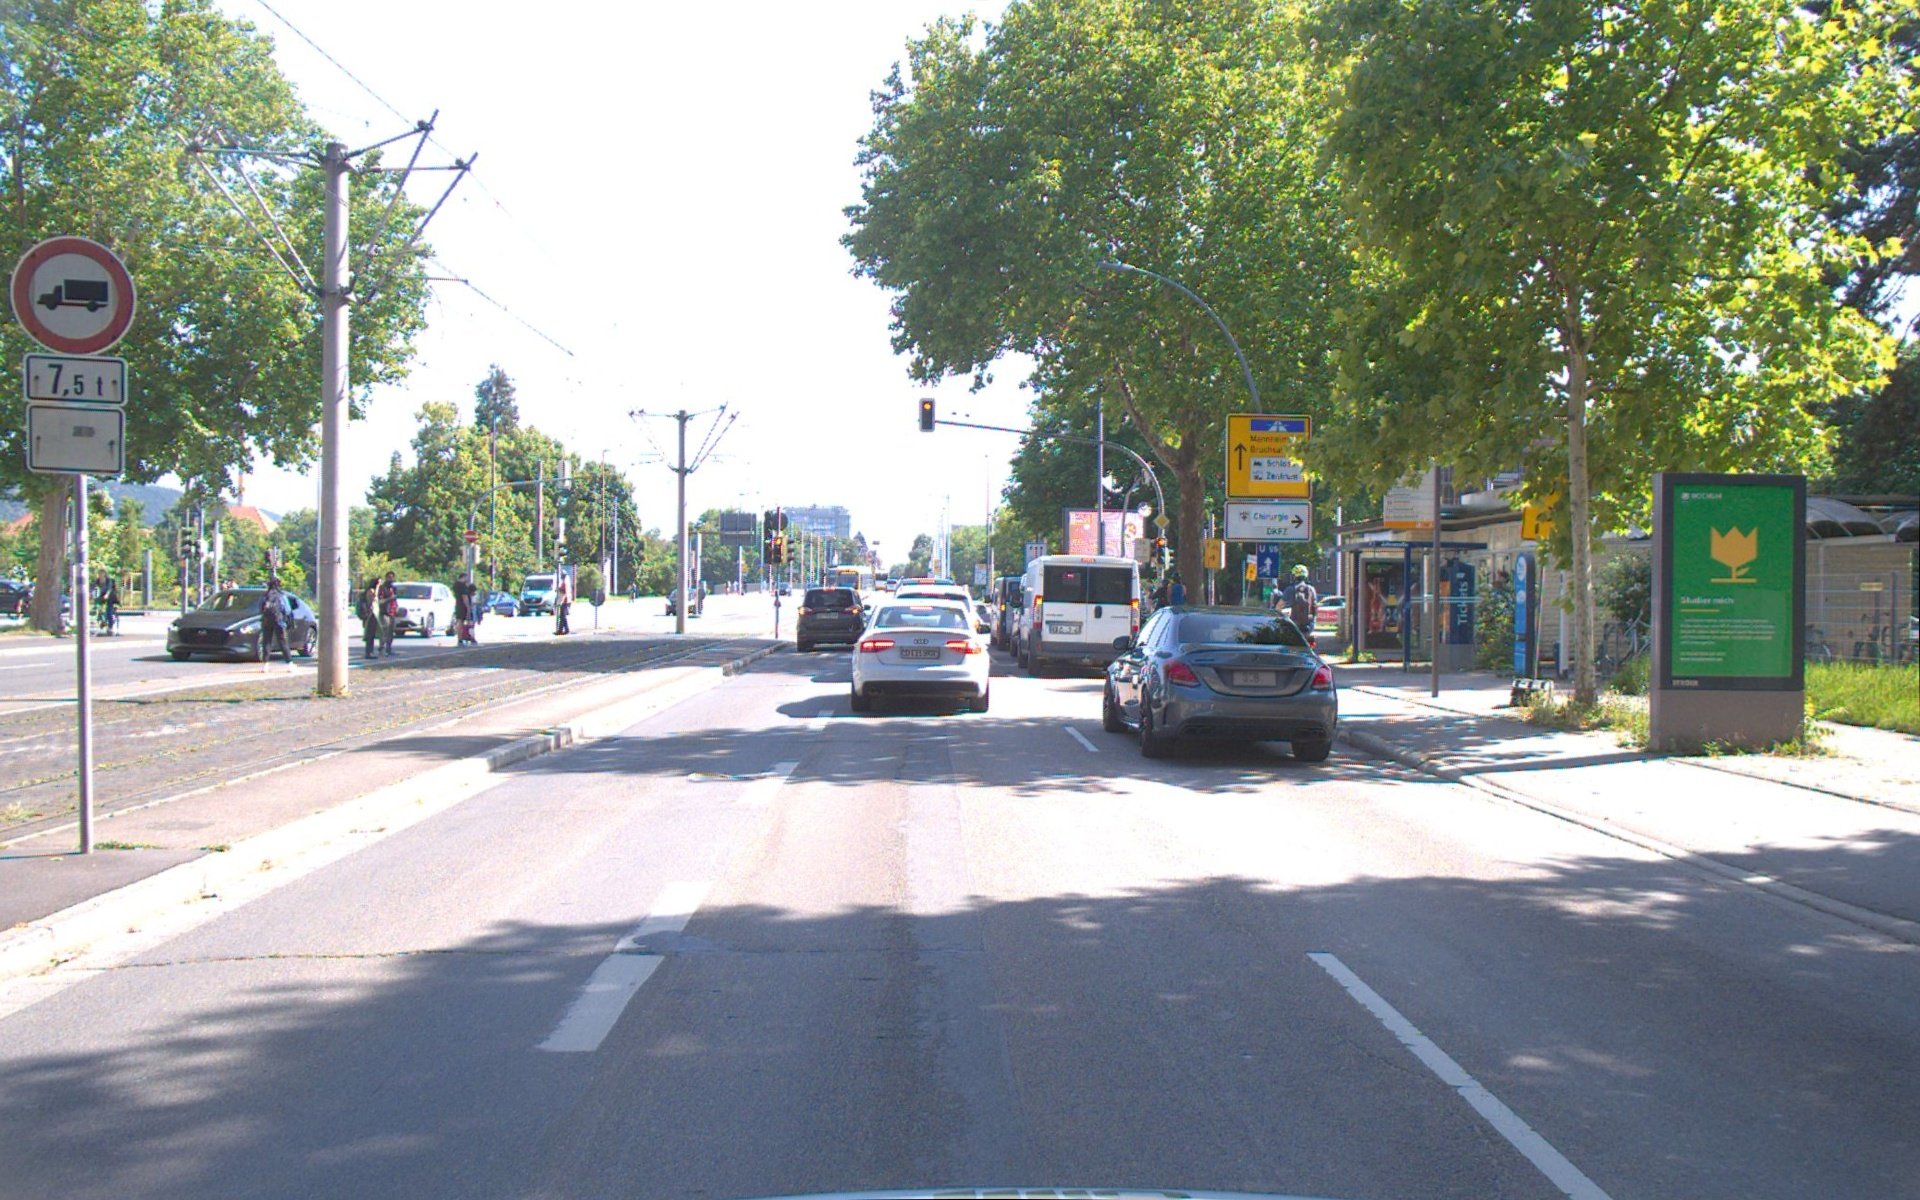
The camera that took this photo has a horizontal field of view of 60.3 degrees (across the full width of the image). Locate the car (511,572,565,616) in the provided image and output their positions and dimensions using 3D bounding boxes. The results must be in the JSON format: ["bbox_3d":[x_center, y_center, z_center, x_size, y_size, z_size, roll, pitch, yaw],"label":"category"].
[{"bbox_3d":[-24.060,-0.329,94.461,2.071,2.424,3.999,1,0,-1],"label":"car"}]

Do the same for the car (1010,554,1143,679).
[{"bbox_3d":[2.208,0.290,32.401,2.185,2.250,4.161,1,0,-1],"label":"car"}]

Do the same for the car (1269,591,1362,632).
[{"bbox_3d":[15.597,0.482,72.655,3.700,1.701,1.793,1,0,-1],"label":"car"}]

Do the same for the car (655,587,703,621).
[{"bbox_3d":[-15.368,0.201,90.699,1.953,1.764,3.999,1,0,-1],"label":"car"}]

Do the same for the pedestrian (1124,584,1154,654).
[{"bbox_3d":[4.534,0.476,41.894,0.590,1.724,0.953,-1,0,-1],"label":"pedestrian"}]

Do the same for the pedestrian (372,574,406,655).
[{"bbox_3d":[-12.208,0.308,35.381,0.482,1.708,0.643,1,0,-1],"label":"pedestrian"}]

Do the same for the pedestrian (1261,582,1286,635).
[{"bbox_3d":[10.822,0.295,57.094,0.761,1.819,0.764,1,0,6],"label":"pedestrian"}]

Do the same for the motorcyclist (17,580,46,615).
[{"bbox_3d":[-35.294,-0.091,62.896,0.737,1.337,0.604,1,0,-1],"label":"motorcyclist"}]

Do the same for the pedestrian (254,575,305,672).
[{"bbox_3d":[-11.813,0.404,28.709,0.748,1.651,0.589,1,0,-27],"label":"pedestrian"}]

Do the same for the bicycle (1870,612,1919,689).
[{"bbox_3d":[15.142,0.805,26.566,0.381,1.201,1.173,1,0,-1],"label":"bicycle"}]

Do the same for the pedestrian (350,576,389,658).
[{"bbox_3d":[-12.198,0.349,34.197,0.581,1.675,0.554,1,0,-1],"label":"pedestrian"}]

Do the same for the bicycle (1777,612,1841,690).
[{"bbox_3d":[13.429,0.793,26.182,0.381,1.201,1.173,1,0,-1],"label":"bicycle"}]

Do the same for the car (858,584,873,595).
[{"bbox_3d":[-13.817,-1.520,241.165,1.832,1.637,4.000,1,0,1],"label":"car"}]

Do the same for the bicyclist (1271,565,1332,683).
[{"bbox_3d":[5.021,0.345,24.357,0.621,1.677,0.979,-2,0,-2],"label":"bicyclist"}]

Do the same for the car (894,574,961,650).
[{"bbox_3d":[-0.875,0.304,44.683,1.694,1.935,3.999,1,0,-1],"label":"car"}]

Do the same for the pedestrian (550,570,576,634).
[{"bbox_3d":[-12.312,0.051,51.259,0.611,1.952,0.689,1,0,-1],"label":"pedestrian"}]

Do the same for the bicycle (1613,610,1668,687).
[{"bbox_3d":[11.026,0.773,26.825,0.381,1.201,1.173,1,0,-1],"label":"bicycle"}]

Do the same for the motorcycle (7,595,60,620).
[{"bbox_3d":[-35.214,0.279,62.891,1.610,0.906,0.650,1,0,-2],"label":"motorcycle"}]

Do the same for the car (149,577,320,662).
[{"bbox_3d":[-15.047,0.378,34.529,1.833,1.637,3.999,1,0,-1],"label":"car"}]

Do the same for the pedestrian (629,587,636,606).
[{"bbox_3d":[-27.279,-0.262,137.836,0.412,1.576,0.552,1,0,-1],"label":"pedestrian"}]

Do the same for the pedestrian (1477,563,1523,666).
[{"bbox_3d":[10.269,0.275,31.474,0.601,1.929,0.693,0,0,-4],"label":"pedestrian"}]

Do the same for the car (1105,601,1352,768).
[{"bbox_3d":[2.577,0.755,16.760,1.746,1.445,3.999,1,0,-1],"label":"car"}]

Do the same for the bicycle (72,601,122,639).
[{"bbox_3d":[-23.103,0.518,44.297,0.474,0.978,1.654,1,0,-1],"label":"bicycle"}]

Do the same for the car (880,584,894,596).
[{"bbox_3d":[-10.643,-1.462,240.938,1.832,1.637,4.000,1,0,1],"label":"car"}]

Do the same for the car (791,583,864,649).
[{"bbox_3d":[-3.519,0.413,44.440,1.694,1.659,3.999,1,0,-1],"label":"car"}]

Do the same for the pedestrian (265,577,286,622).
[{"bbox_3d":[-24.006,-0.025,57.981,0.615,1.569,0.775,1,0,-27],"label":"pedestrian"}]

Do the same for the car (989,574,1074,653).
[{"bbox_3d":[1.928,0.357,45.672,2.030,2.034,4.057,1,0,-1],"label":"car"}]

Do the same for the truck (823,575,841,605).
[{"bbox_3d":[-14.595,-1.139,188.709,1.954,3.383,6.016,0,0,-3],"label":"truck"}]

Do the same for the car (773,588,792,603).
[{"bbox_3d":[-20.253,-0.524,188.788,1.954,1.670,3.998,1,0,-3],"label":"car"}]

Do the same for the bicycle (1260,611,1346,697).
[{"bbox_3d":[5.044,0.766,24.459,0.700,1.168,2.177,-2,0,-2],"label":"bicycle"}]

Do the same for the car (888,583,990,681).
[{"bbox_3d":[-0.399,0.536,29.843,1.694,1.633,3.884,1,0,-1],"label":"car"}]

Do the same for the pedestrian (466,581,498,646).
[{"bbox_3d":[-12.135,0.332,41.985,0.526,1.626,0.578,1,0,17],"label":"pedestrian"}]

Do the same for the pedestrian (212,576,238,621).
[{"bbox_3d":[-26.057,-0.047,58.635,0.610,1.569,0.644,1,0,-3],"label":"pedestrian"}]

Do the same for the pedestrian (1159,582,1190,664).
[{"bbox_3d":[5.233,0.559,40.464,0.622,1.980,0.718,1,0,-1],"label":"pedestrian"}]

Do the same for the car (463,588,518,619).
[{"bbox_3d":[-24.663,0.169,86.995,1.792,1.546,3.945,1,0,-1],"label":"car"}]

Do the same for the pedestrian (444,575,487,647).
[{"bbox_3d":[-12.316,0.269,41.230,0.758,1.764,0.755,1,0,7],"label":"pedestrian"}]

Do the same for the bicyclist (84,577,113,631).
[{"bbox_3d":[-23.091,0.103,44.336,0.470,1.441,0.592,1,0,-2],"label":"bicyclist"}]

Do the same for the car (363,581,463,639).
[{"bbox_3d":[-16.228,0.273,49.259,1.728,1.637,3.859,1,0,-1],"label":"car"}]

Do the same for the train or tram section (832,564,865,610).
[{"bbox_3d":[-10.339,-1.189,154.280,2.563,4.085,7.747,1,0,-1],"label":"train or tram section"}]

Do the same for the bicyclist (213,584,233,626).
[{"bbox_3d":[-23.329,0.162,52.360,0.377,1.334,0.465,1,0,-1],"label":"bicyclist"}]

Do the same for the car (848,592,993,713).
[{"bbox_3d":[-0.522,0.640,22.143,1.748,1.445,3.884,1,0,-1],"label":"car"}]

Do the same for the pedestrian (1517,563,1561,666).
[{"bbox_3d":[11.031,0.276,31.522,0.601,1.929,0.597,0,0,-4],"label":"pedestrian"}]
